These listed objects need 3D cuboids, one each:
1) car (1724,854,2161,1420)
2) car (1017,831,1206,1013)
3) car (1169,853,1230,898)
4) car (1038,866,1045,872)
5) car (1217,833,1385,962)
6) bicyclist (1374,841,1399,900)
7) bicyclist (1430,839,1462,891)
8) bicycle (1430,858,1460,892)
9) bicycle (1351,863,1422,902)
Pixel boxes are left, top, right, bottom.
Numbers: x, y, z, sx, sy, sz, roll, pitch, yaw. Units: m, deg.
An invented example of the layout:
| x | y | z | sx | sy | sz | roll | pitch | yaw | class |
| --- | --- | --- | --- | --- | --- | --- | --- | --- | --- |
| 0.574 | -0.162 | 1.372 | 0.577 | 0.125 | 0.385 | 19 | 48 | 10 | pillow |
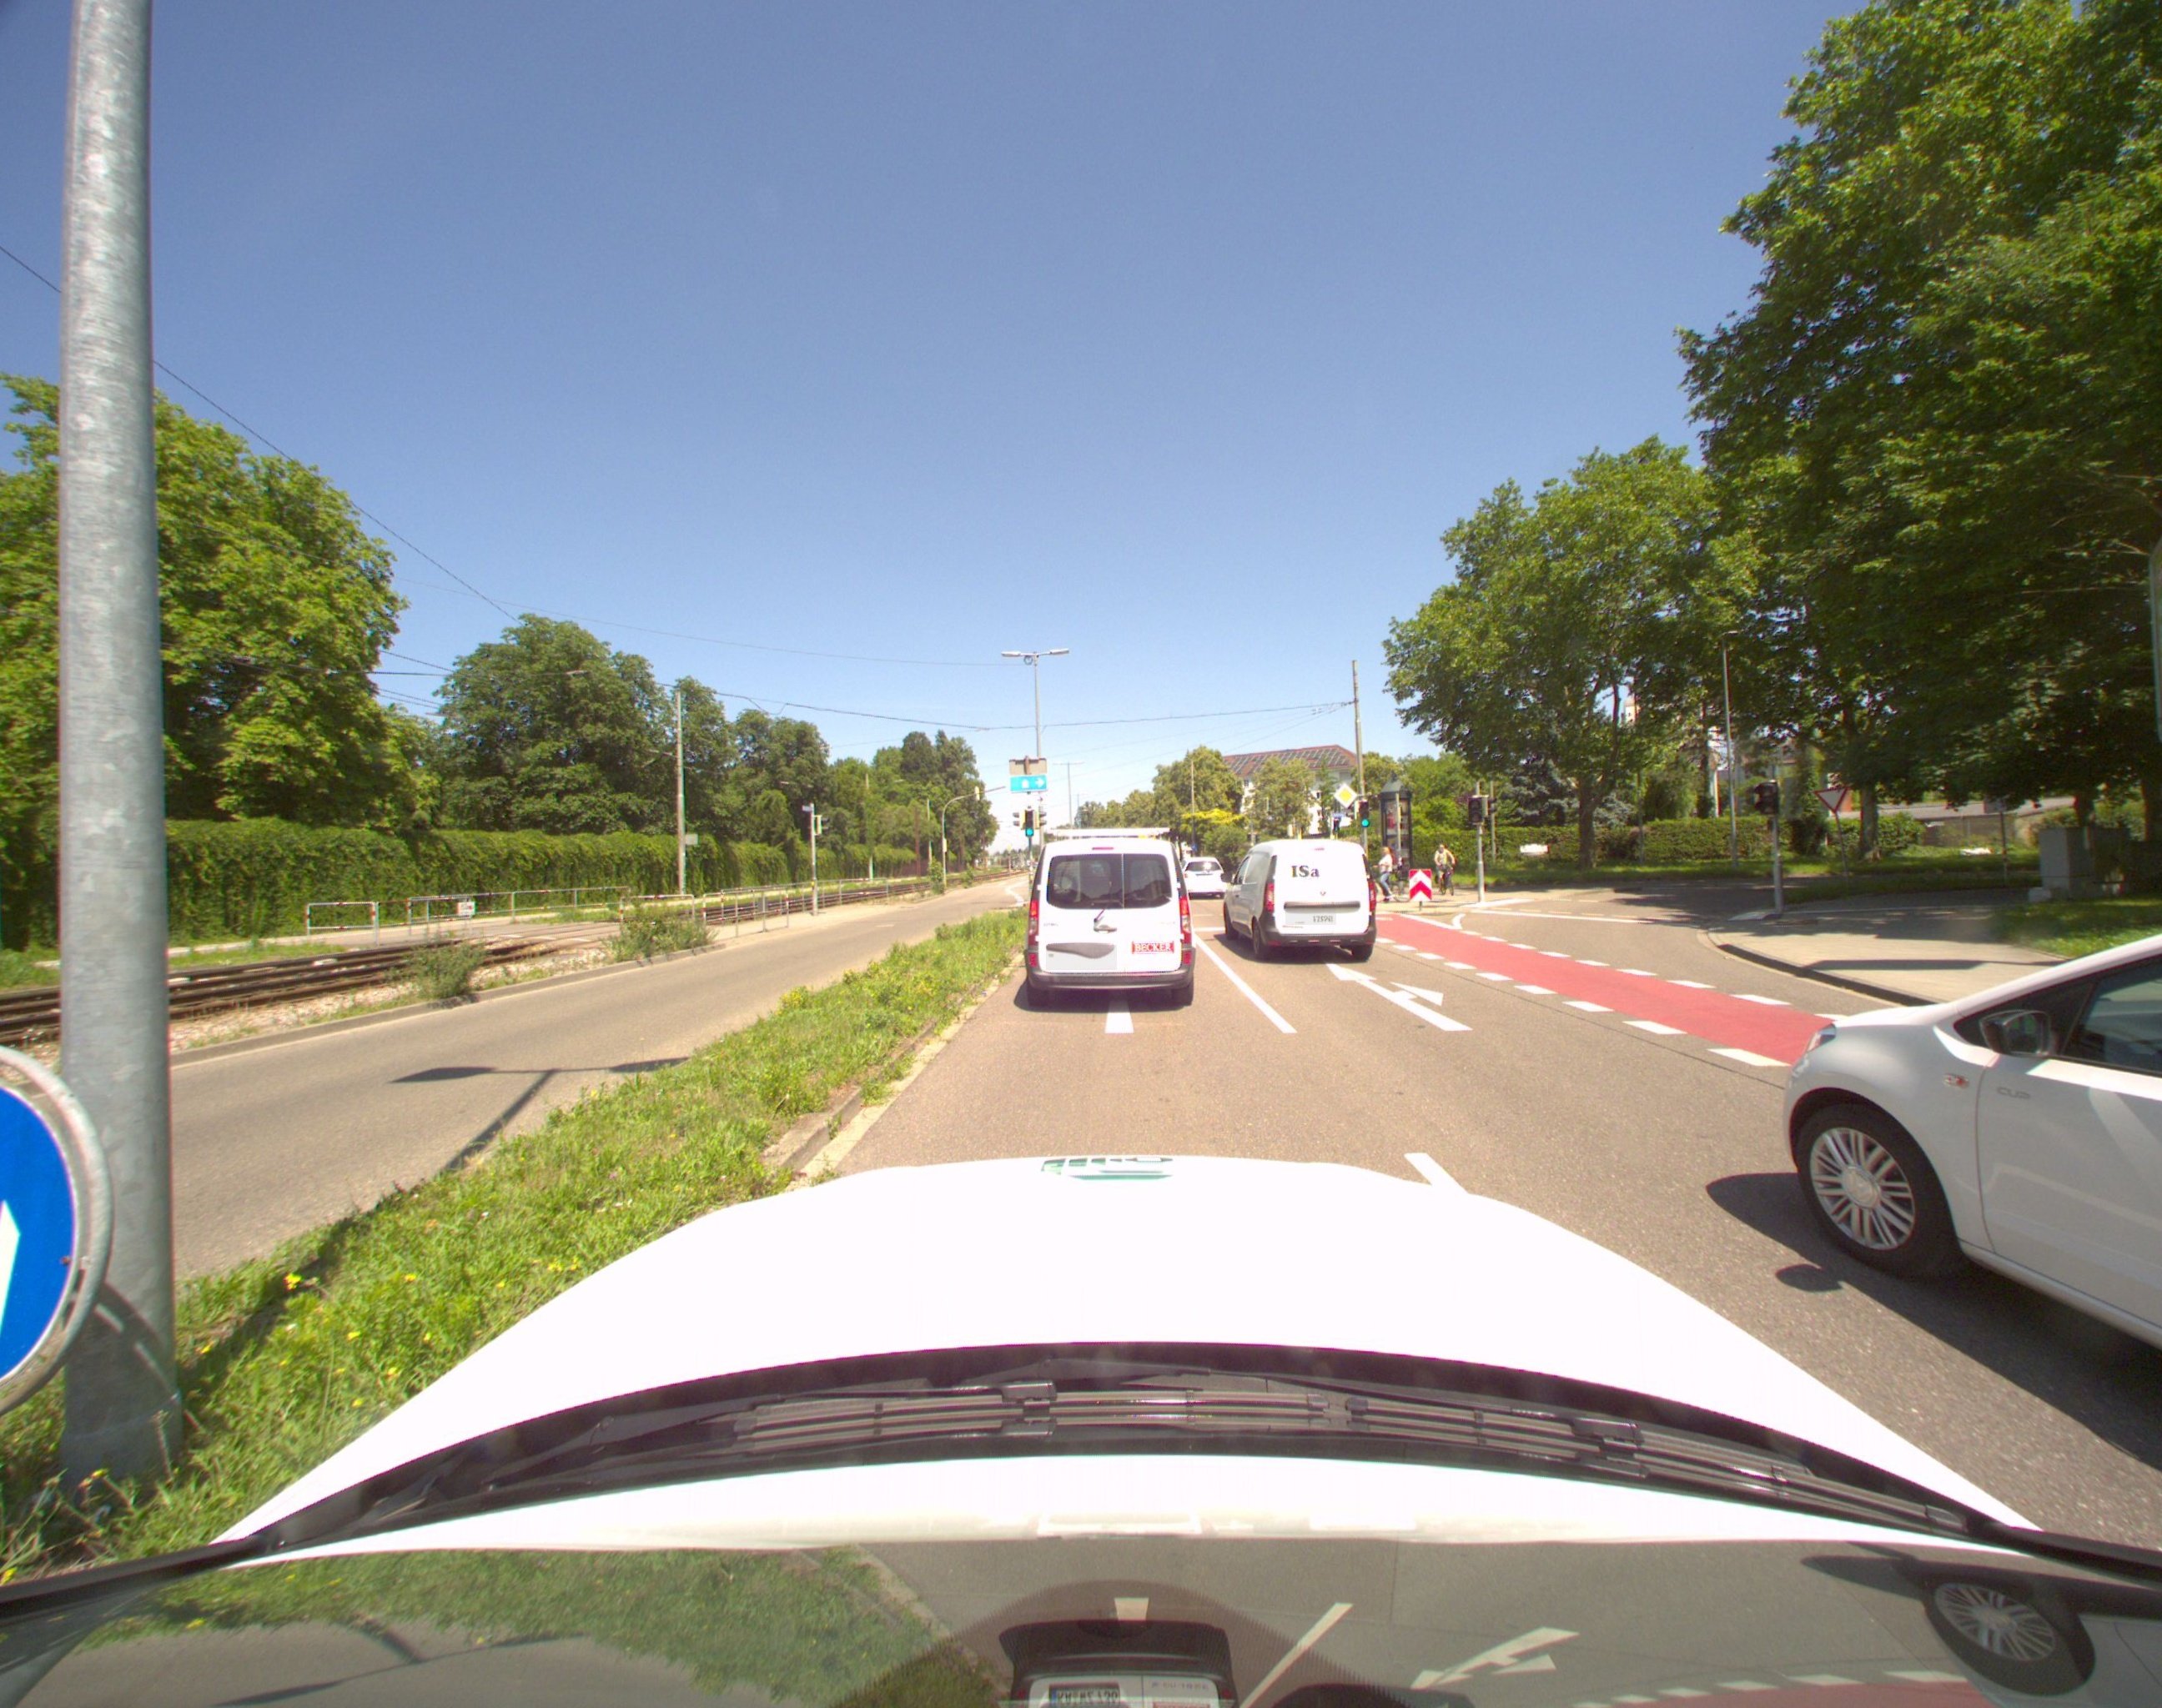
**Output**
| x | y | z | sx | sy | sz | roll | pitch | yaw | class |
| --- | --- | --- | --- | --- | --- | --- | --- | --- | --- |
| 3.574 | 0.730 | 1.854 | 1.603 | 1.447 | 3.437 | 0 | 0 | 2 | car |
| 0.367 | 0.678 | 10.164 | 1.814 | 1.740 | 4.397 | -1 | 0 | 2 | car |
| 4.392 | 0.757 | 30.662 | 1.828 | 1.568 | 4.002 | 0 | 0 | 2 | car |
| -10.500 | 3.890 | 214.036 | 1.694 | 1.512 | 4.059 | -2 | 0 | -5 | car |
| 3.426 | 0.629 | 13.443 | 1.722 | 1.788 | 4.064 | 0 | -1 | 1 | car |
| 9.300 | 0.498 | 24.804 | 0.573 | 1.788 | 0.770 | 0 | -1 | 9 | bicyclist |
| 12.971 | 0.400 | 28.941 | 0.964 | 1.788 | 0.730 | -2 | -1 | 24 | bicyclist |
| 12.960 | 0.729 | 29.007 | 0.884 | 1.159 | 1.967 | -2 | -1 | 24 | bicycle |
| 9.291 | 0.869 | 24.824 | 1.855 | 1.125 | 0.897 | -1 | -1 | 9 | bicycle |
